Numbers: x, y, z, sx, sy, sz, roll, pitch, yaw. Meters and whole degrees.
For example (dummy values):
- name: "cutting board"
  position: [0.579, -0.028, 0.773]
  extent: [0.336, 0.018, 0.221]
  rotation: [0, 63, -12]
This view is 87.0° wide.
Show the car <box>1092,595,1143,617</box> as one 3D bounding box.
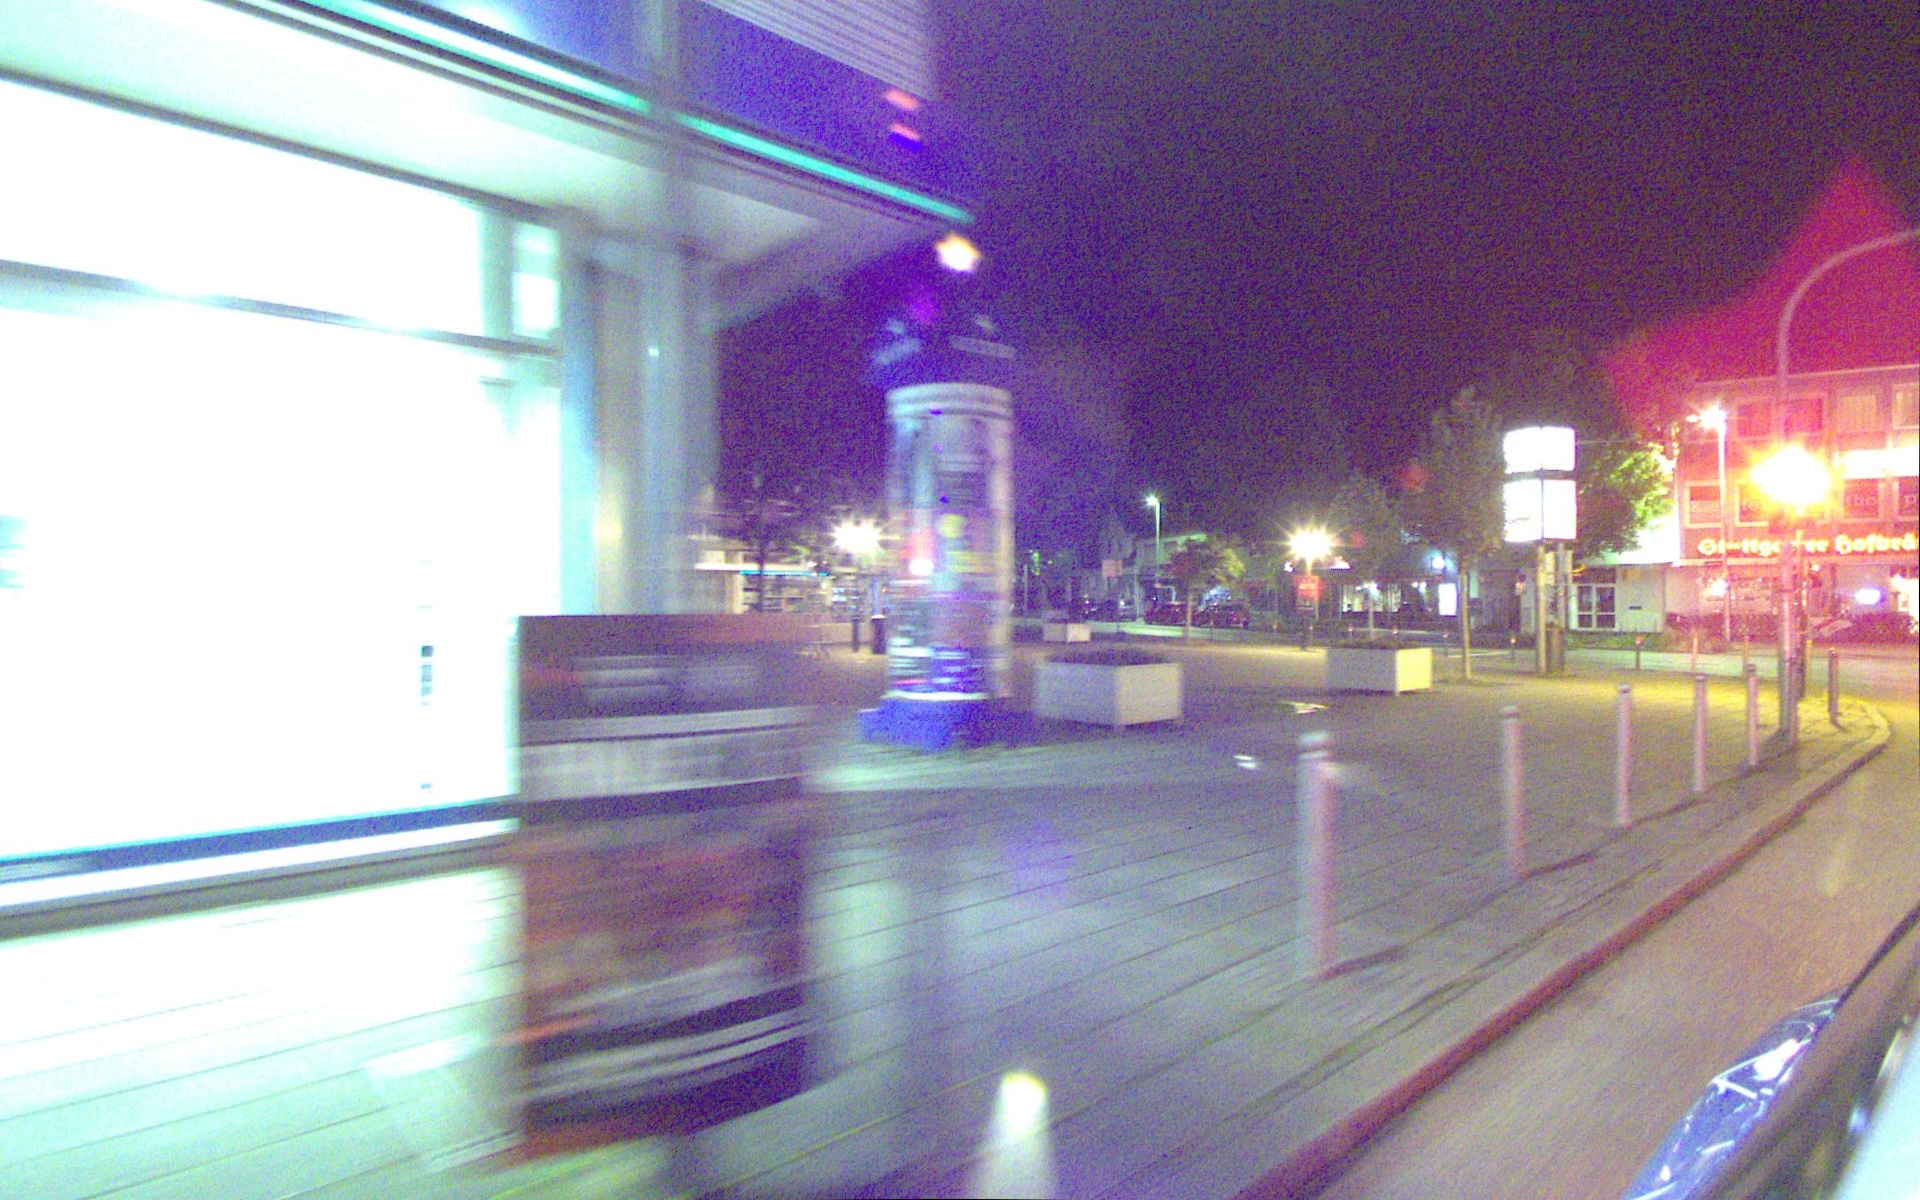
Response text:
- name: "car"
  position: [11.022, 0.394, 71.141]
  extent: [1.855, 1.471, 3.903]
  rotation: [2, 0, -20]

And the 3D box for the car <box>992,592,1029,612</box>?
- name: "car"
  position: [4.345, 0.156, 88.222]
  extent: [1.970, 1.646, 3.903]
  rotation: [2, 0, -17]

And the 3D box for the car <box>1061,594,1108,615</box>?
- name: "car"
  position: [9.294, 0.351, 75.822]
  extent: [1.855, 1.471, 3.903]
  rotation: [2, 0, -20]

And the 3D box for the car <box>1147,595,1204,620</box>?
- name: "car"
  position: [13.613, 0.482, 64.049]
  extent: [1.855, 1.471, 3.903]
  rotation: [2, 0, -17]

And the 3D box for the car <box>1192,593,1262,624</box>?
- name: "car"
  position: [15.657, 0.484, 59.502]
  extent: [1.836, 1.674, 3.869]
  rotation: [2, 0, -26]
